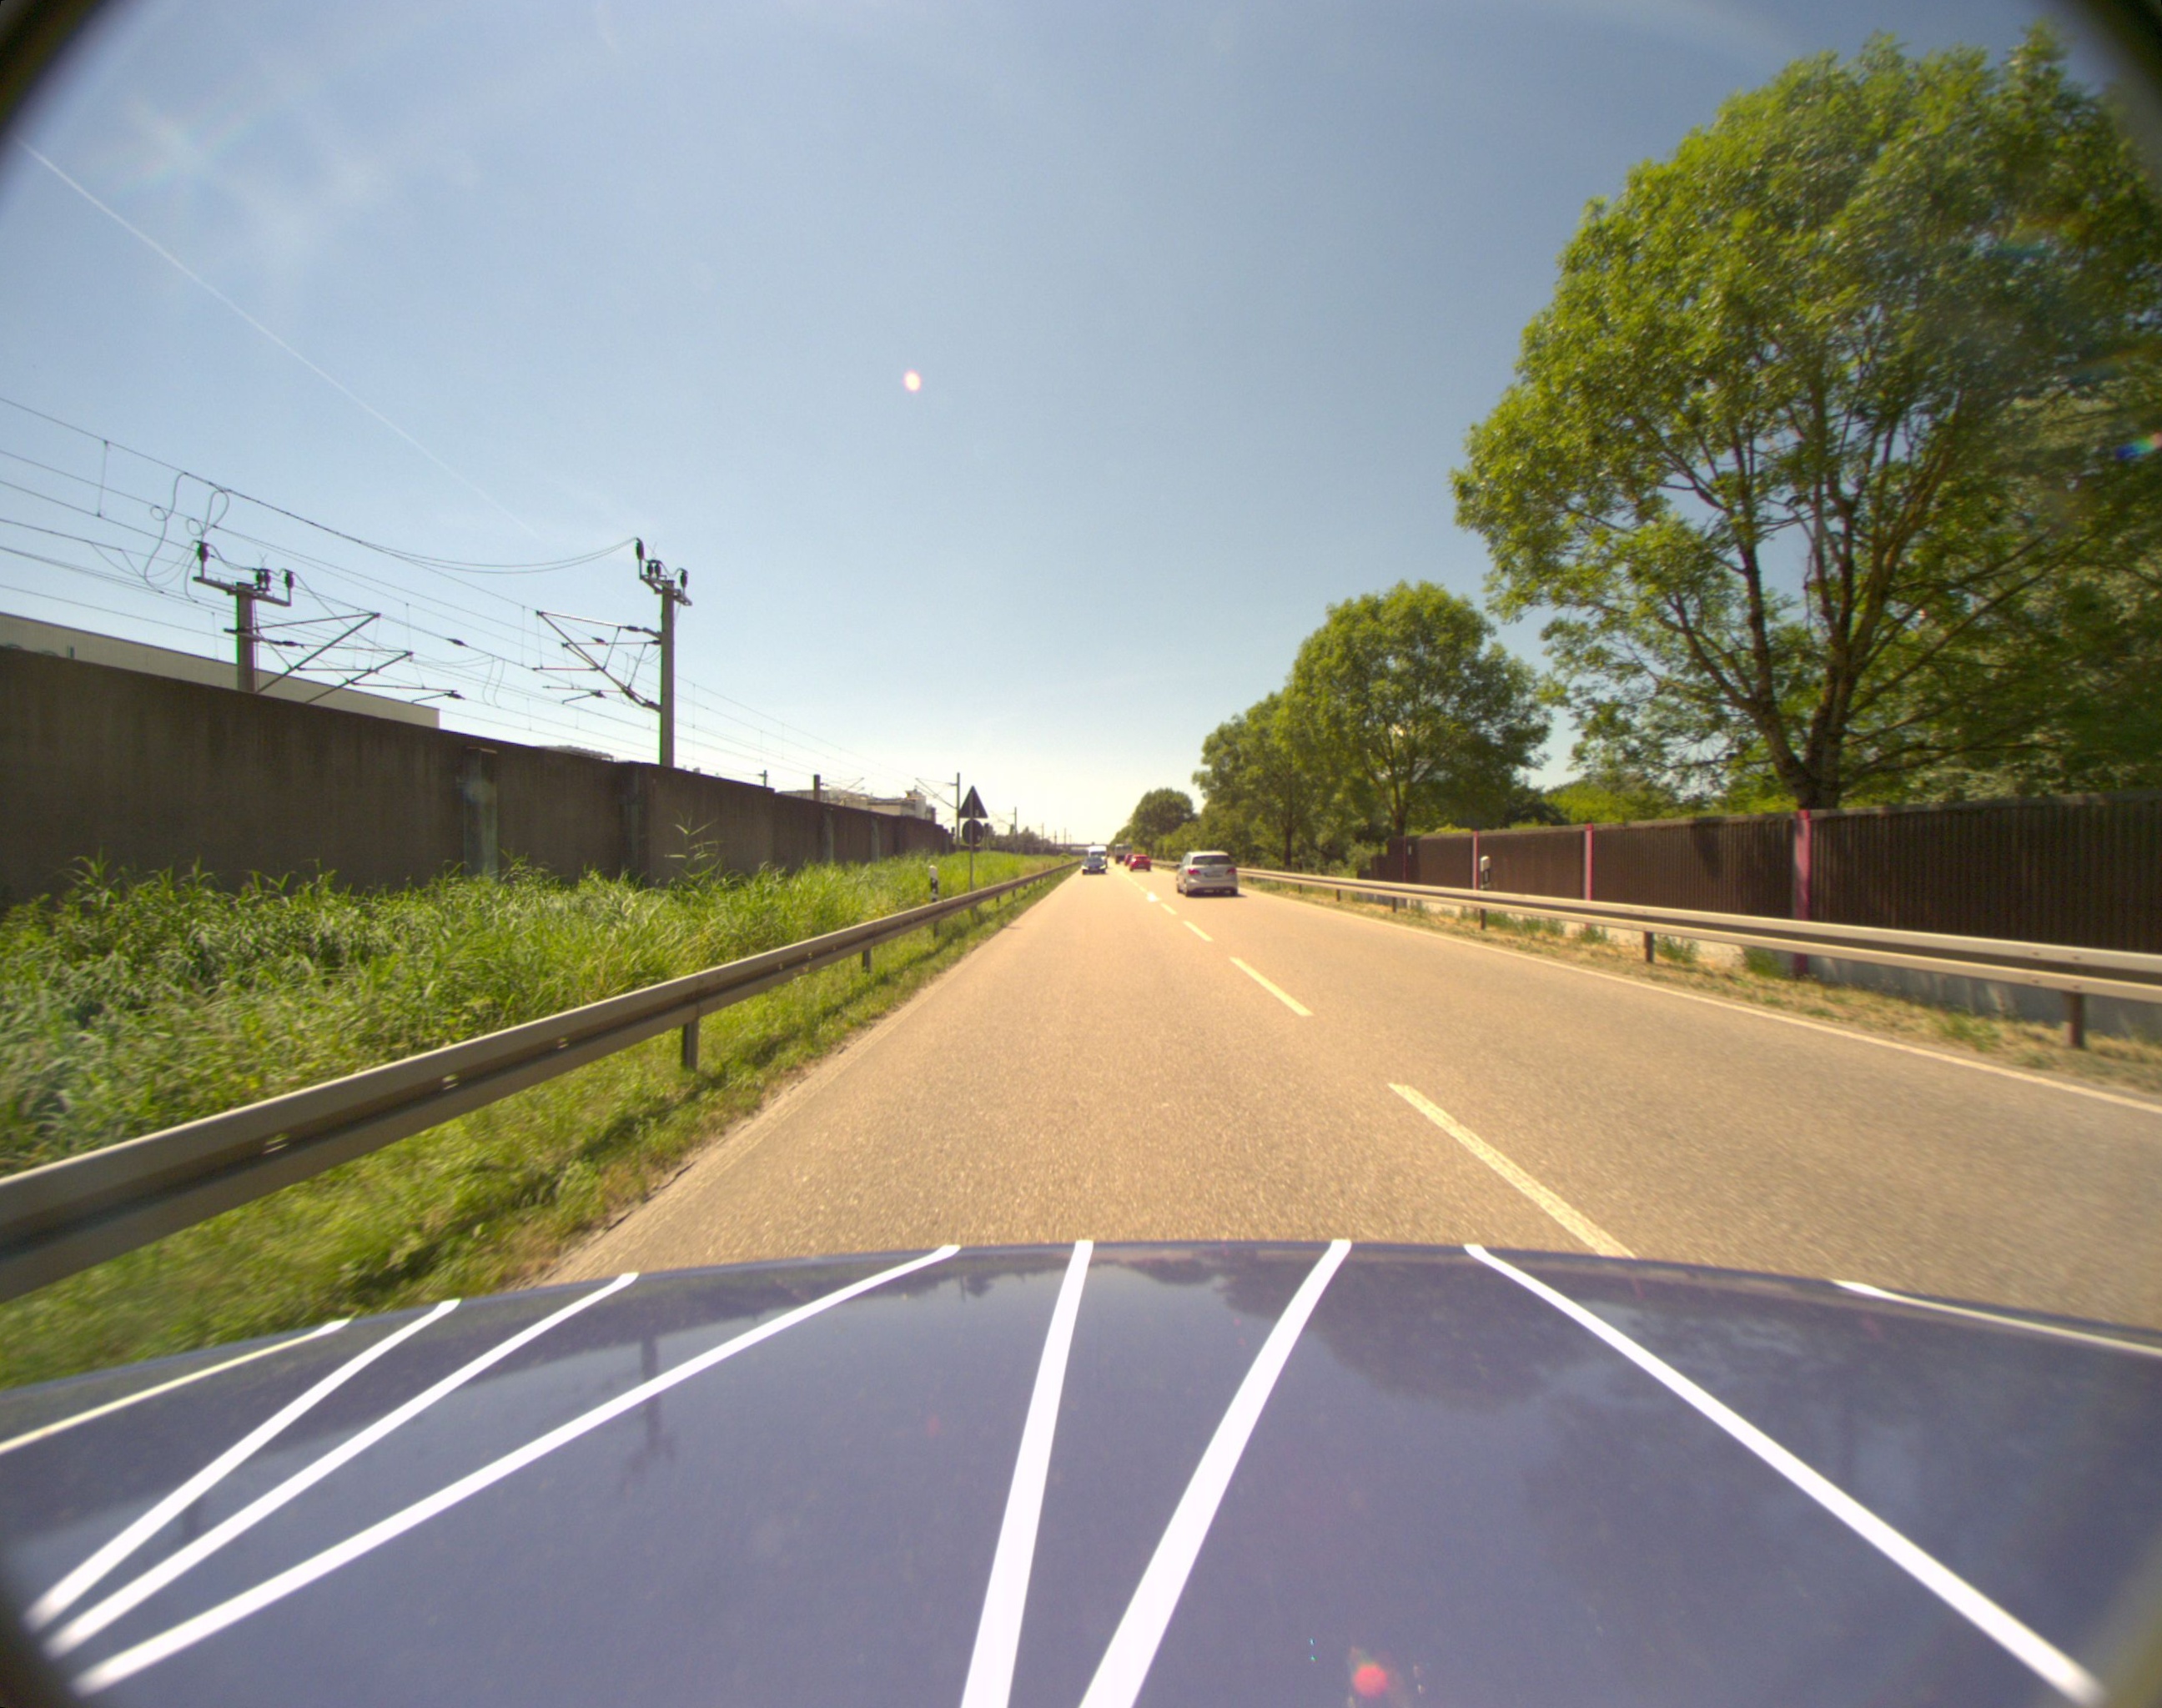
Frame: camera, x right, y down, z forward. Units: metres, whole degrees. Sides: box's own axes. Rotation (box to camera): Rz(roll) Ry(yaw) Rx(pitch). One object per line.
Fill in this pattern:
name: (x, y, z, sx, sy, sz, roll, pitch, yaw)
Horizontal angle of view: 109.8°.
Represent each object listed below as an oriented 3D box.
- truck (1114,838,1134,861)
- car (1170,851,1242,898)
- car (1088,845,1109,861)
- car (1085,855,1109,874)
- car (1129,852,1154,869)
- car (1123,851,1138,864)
truck: (6.626, -0.629, 118.149, 2.790, 3.385, 7.989, -2, 0, 1)
car: (4.390, 0.681, 27.275, 1.794, 1.517, 4.389, -1, 0, -1)
car: (1.971, -0.093, 83.724, 2.161, 1.701, 4.493, -2, 0, 1)
car: (1.232, 0.758, 58.040, 1.758, 1.313, 4.000, -2, 0, 1)
car: (5.192, 0.565, 65.603, 1.794, 1.413, 4.000, -1, 0, 1)
car: (6.256, 0.453, 95.715, 1.657, 1.543, 4.000, -1, 0, 1)
